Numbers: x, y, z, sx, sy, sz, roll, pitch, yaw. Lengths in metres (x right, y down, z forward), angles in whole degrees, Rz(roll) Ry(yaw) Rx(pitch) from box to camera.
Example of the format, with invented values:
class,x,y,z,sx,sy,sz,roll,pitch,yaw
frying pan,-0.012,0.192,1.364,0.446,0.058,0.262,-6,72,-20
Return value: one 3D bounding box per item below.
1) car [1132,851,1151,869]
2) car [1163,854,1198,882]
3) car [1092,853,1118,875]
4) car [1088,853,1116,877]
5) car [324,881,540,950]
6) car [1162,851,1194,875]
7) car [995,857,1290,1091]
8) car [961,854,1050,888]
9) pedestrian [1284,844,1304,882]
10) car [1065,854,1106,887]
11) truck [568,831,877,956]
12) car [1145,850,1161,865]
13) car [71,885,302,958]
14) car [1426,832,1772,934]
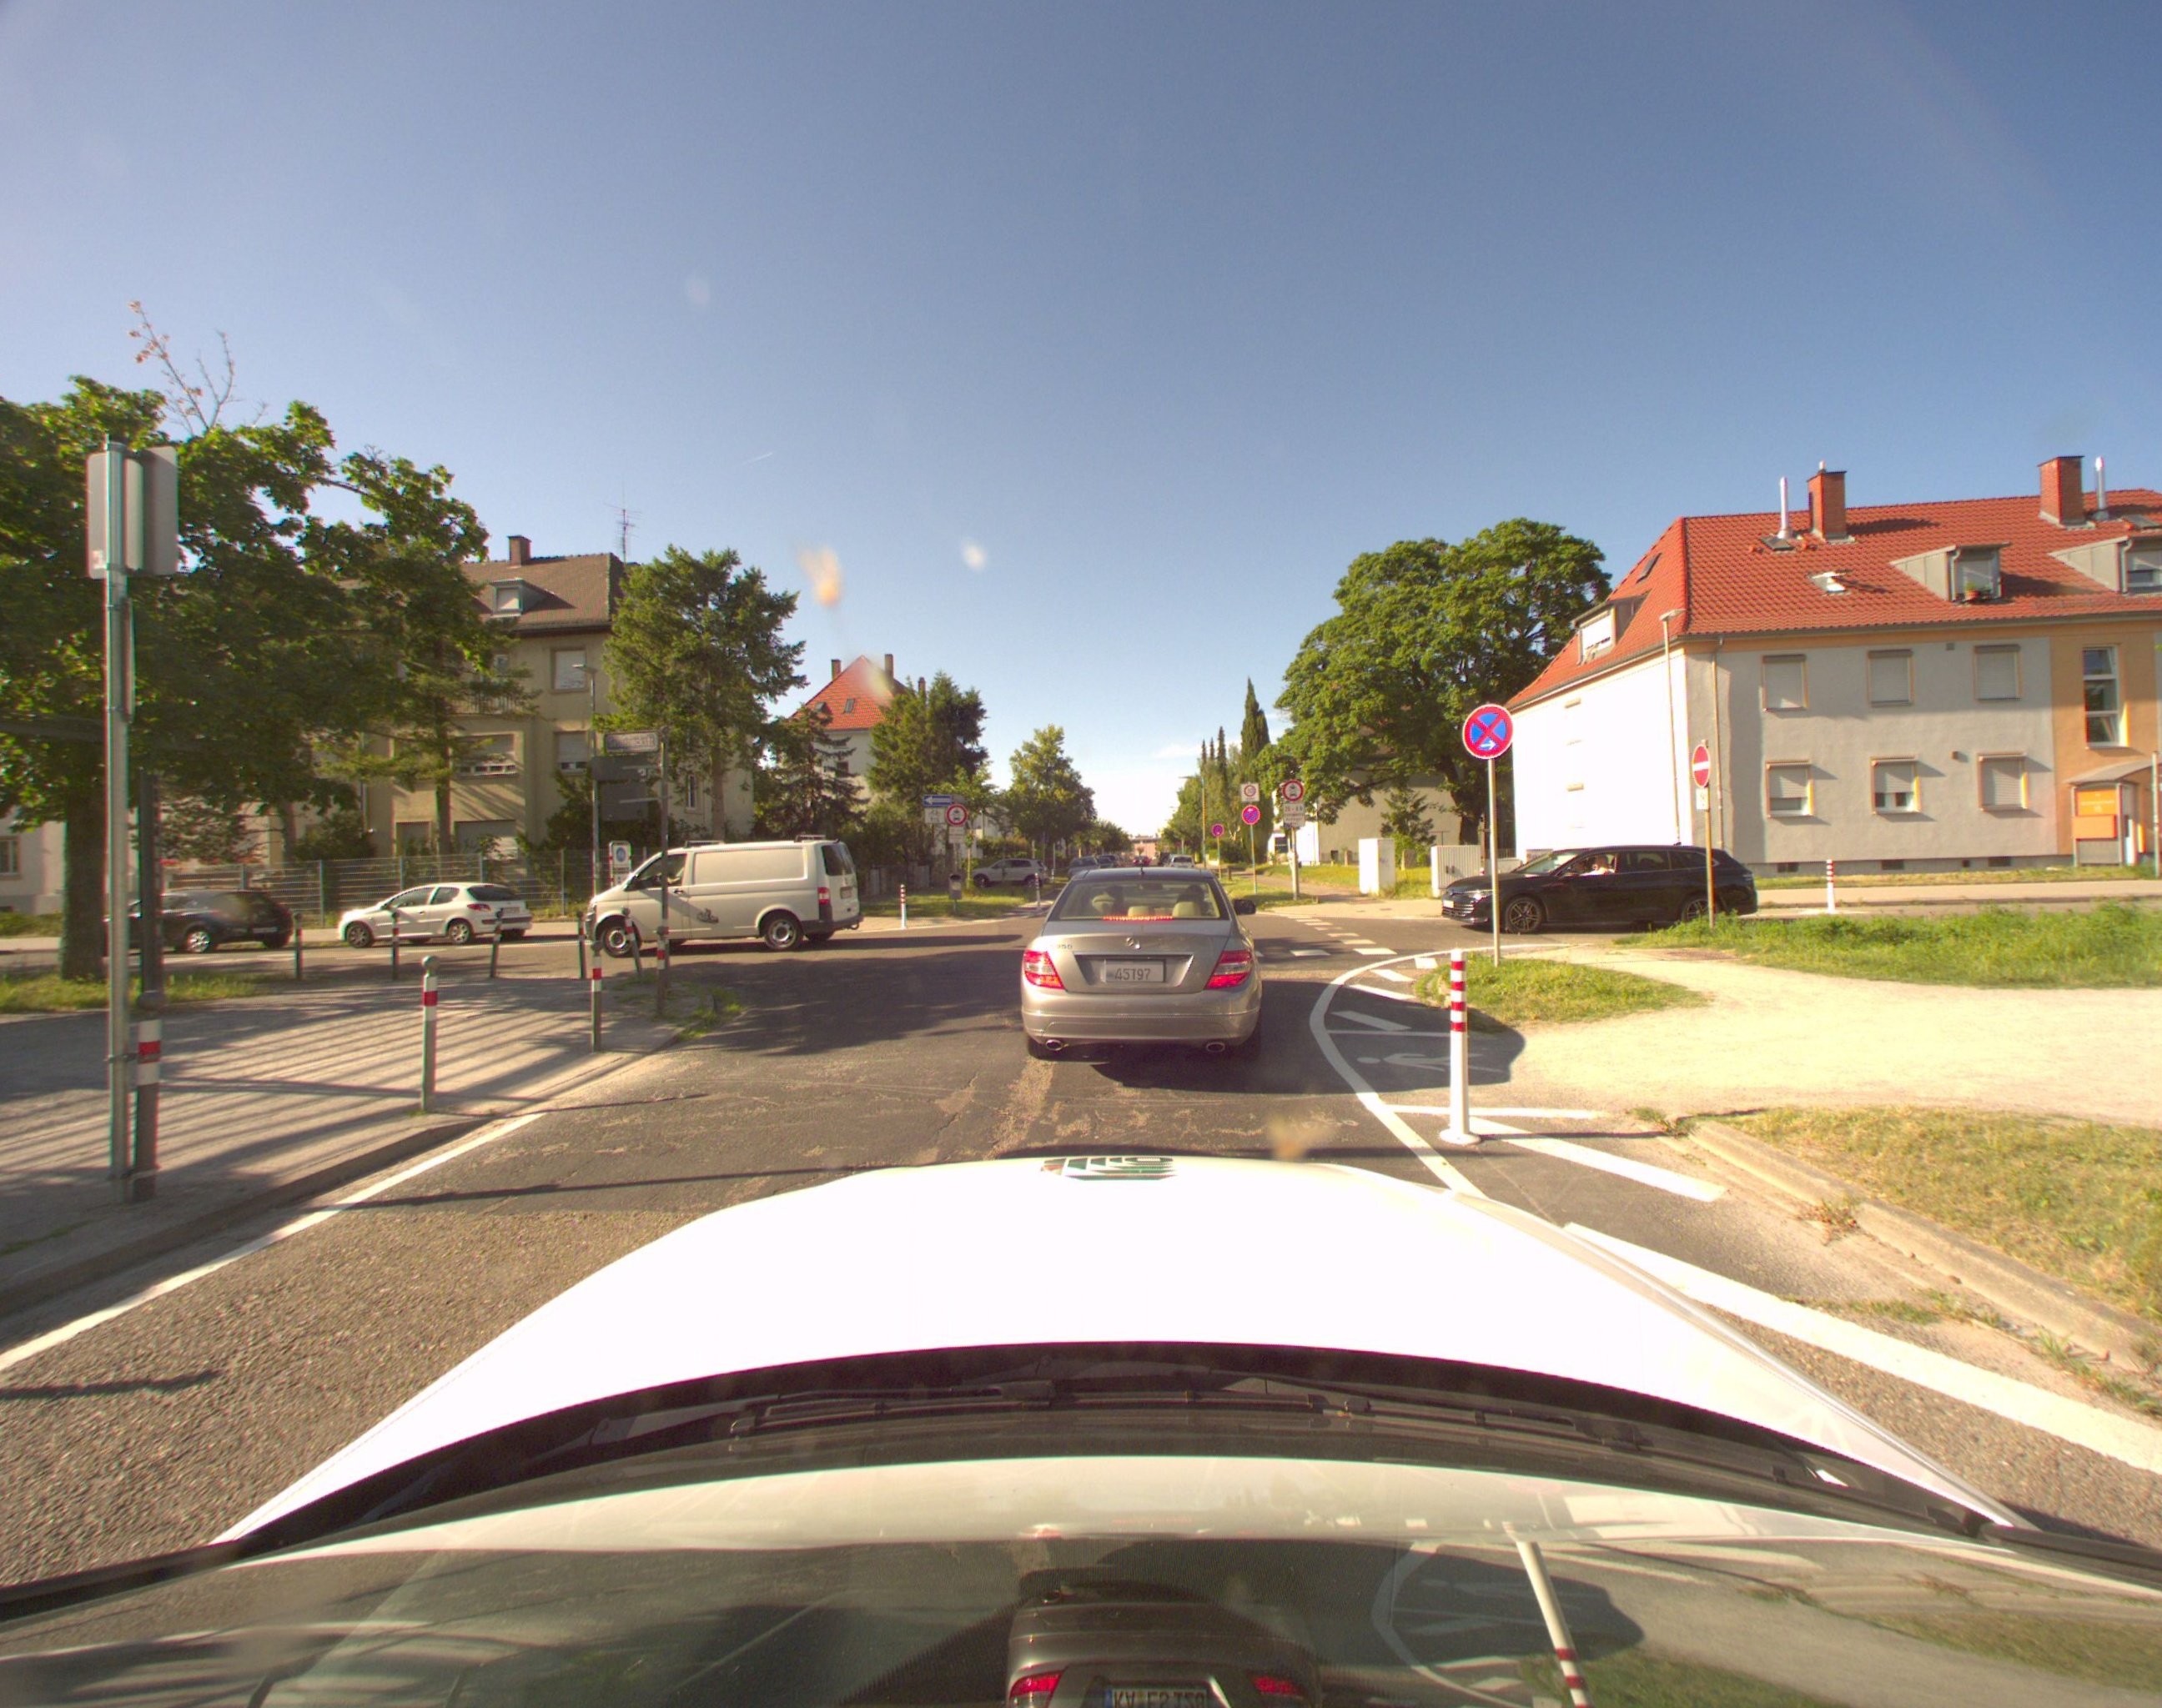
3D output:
class,x,y,z,sx,sy,sz,roll,pitch,yaw
car,5.749,0.576,77.775,1.591,1.609,3.646,-2,0,3
car,5.762,0.778,47.586,1.726,1.480,3.728,-2,0,3
car,2.101,0.809,69.196,1.986,1.609,4.003,-5,0,2
car,1.693,0.815,63.410,1.986,1.609,4.003,-5,0,2
car,-15.114,1.409,19.085,3.747,1.398,1.709,-2,-1,4
car,6.906,0.604,58.279,1.985,1.609,4.003,-2,0,3
car,0.573,0.769,7.118,1.827,1.441,4.006,-1,0,6
car,-3.732,0.845,40.728,4.177,1.564,1.843,-1,0,1
pedestrian,9.477,0.395,36.277,0.761,1.611,0.836,-2,0,9
car,0.279,0.885,45.633,1.986,1.609,4.003,-5,0,2
truck,-6.582,0.700,15.296,4.836,2.036,2.002,-2,0,4
car,9.089,0.435,103.188,1.846,1.841,4.004,-2,0,4
car,-21.104,1.570,19.301,3.796,1.495,1.679,-2,-1,4
car,8.840,0.486,14.312,4.716,1.524,2.004,-2,0,6
